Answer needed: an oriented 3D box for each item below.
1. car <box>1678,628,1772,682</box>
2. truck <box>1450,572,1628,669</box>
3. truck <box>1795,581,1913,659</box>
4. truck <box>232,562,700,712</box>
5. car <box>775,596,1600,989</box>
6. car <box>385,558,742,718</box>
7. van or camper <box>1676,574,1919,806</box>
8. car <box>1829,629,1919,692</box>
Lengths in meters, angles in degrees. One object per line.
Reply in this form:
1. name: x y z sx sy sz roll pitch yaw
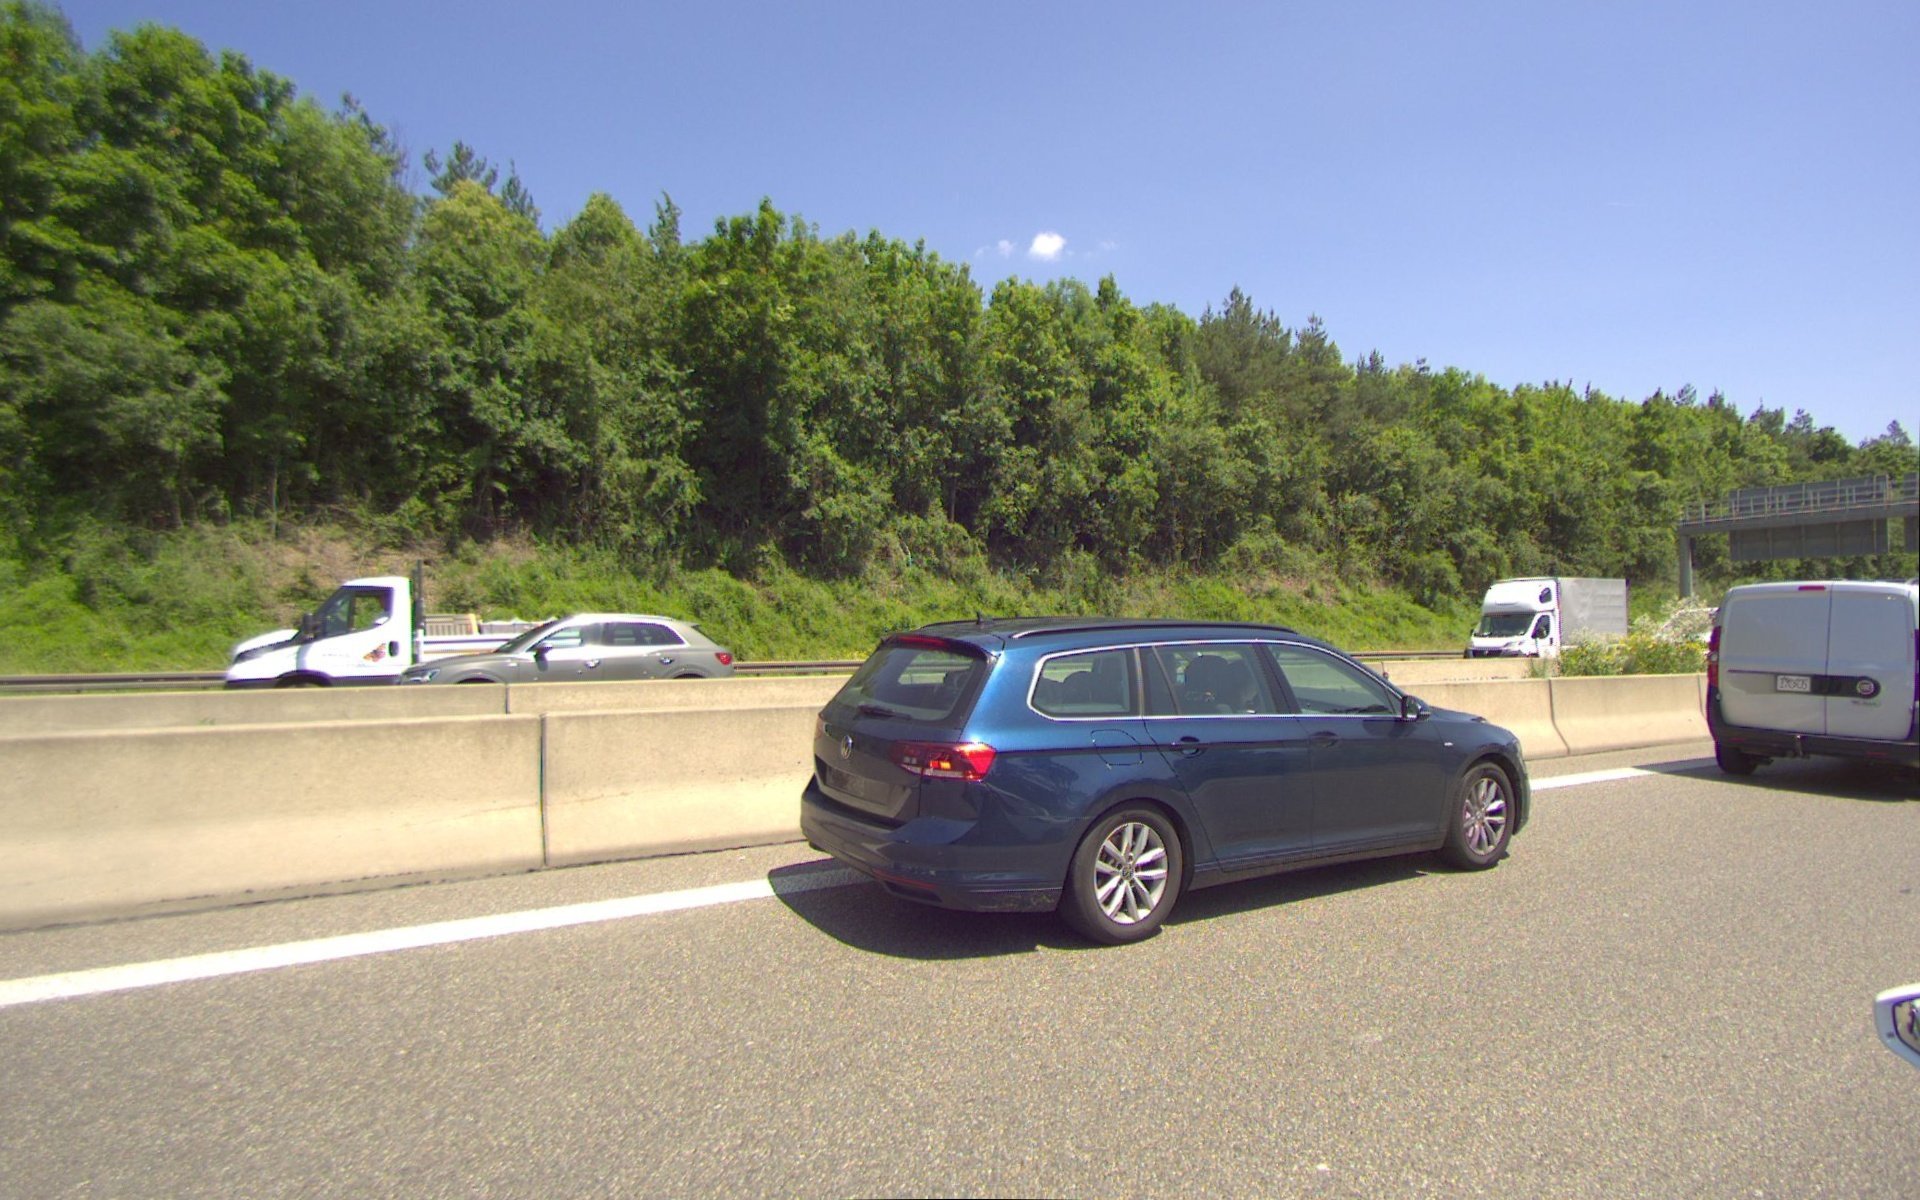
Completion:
1. car: 30.944 2.207 40.600 3.472 2.040 1.842 2 -1 -31
2. truck: 19.114 0.736 33.036 6.668 2.923 2.166 2 -1 -32
3. truck: 49.951 1.158 56.045 7.900 4.042 2.678 2 -1 -31
4. truck: -7.788 0.615 16.412 6.421 2.040 2.338 2 -1 -32
5. car: 1.473 0.782 5.769 4.625 1.469 1.865 2 -1 -31
6. car: -5.320 0.518 13.631 4.245 1.862 1.775 2 -1 -31
7. van or camper: 9.387 0.760 10.145 4.508 1.905 1.844 1 0 -30
8. car: 24.807 1.552 26.479 3.956 1.514 1.815 1 -1 -32
